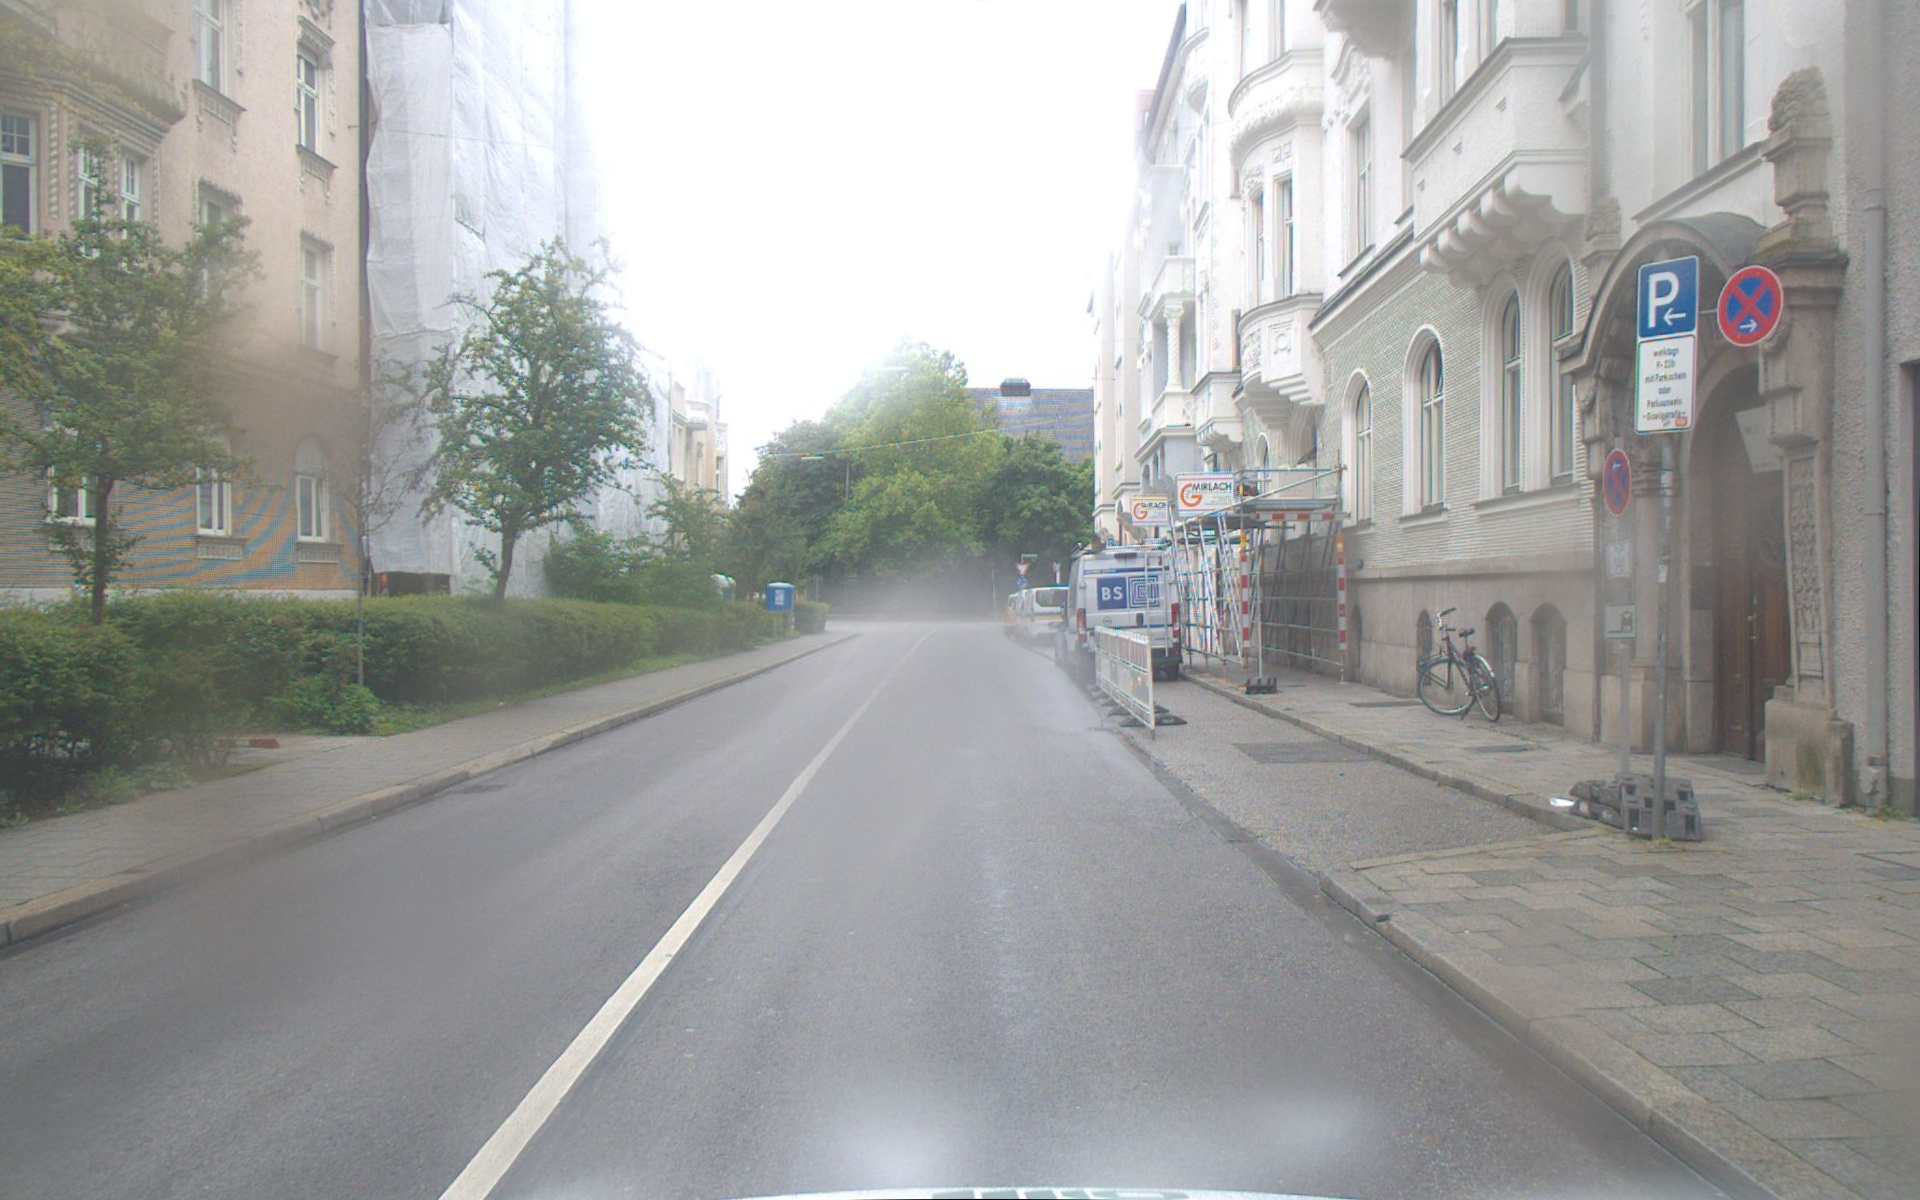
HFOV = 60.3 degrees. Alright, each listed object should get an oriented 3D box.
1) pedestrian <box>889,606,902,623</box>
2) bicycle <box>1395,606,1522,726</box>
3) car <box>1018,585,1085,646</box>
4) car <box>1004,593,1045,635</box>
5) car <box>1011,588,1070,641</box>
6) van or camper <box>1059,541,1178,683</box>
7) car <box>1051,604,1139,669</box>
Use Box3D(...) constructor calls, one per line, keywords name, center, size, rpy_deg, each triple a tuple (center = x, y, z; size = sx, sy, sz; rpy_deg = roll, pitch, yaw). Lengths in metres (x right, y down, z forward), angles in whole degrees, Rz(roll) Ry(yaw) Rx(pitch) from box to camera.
Box3D(name="pedestrian", center=(-4.559, 1.028, 117.156), size=(0.794, 1.210, 0.920), rpy_deg=(-1, 0, 6))
Box3D(name="bicycle", center=(5.553, 0.702, 18.531), size=(0.647, 1.227, 1.920), rpy_deg=(-4, 0, -4))
Box3D(name="car", center=(3.202, 0.518, 58.646), size=(1.920, 2.049, 4.991), rpy_deg=(-1, 0, -2))
Box3D(name="car", center=(3.006, 0.618, 76.113), size=(1.811, 1.885, 4.822), rpy_deg=(0, 0, 3))
Box3D(name="car", center=(3.117, 0.559, 64.848), size=(1.920, 1.971, 4.991), rpy_deg=(-1, 0, -2))
Box3D(name="van or camper", center=(3.172, 0.241, 34.069), size=(1.913, 2.683, 5.458), rpy_deg=(0, 0, 0))
Box3D(name="car", center=(3.212, 0.837, 40.026), size=(1.718, 1.459, 4.086), rpy_deg=(-1, 0, -1))
